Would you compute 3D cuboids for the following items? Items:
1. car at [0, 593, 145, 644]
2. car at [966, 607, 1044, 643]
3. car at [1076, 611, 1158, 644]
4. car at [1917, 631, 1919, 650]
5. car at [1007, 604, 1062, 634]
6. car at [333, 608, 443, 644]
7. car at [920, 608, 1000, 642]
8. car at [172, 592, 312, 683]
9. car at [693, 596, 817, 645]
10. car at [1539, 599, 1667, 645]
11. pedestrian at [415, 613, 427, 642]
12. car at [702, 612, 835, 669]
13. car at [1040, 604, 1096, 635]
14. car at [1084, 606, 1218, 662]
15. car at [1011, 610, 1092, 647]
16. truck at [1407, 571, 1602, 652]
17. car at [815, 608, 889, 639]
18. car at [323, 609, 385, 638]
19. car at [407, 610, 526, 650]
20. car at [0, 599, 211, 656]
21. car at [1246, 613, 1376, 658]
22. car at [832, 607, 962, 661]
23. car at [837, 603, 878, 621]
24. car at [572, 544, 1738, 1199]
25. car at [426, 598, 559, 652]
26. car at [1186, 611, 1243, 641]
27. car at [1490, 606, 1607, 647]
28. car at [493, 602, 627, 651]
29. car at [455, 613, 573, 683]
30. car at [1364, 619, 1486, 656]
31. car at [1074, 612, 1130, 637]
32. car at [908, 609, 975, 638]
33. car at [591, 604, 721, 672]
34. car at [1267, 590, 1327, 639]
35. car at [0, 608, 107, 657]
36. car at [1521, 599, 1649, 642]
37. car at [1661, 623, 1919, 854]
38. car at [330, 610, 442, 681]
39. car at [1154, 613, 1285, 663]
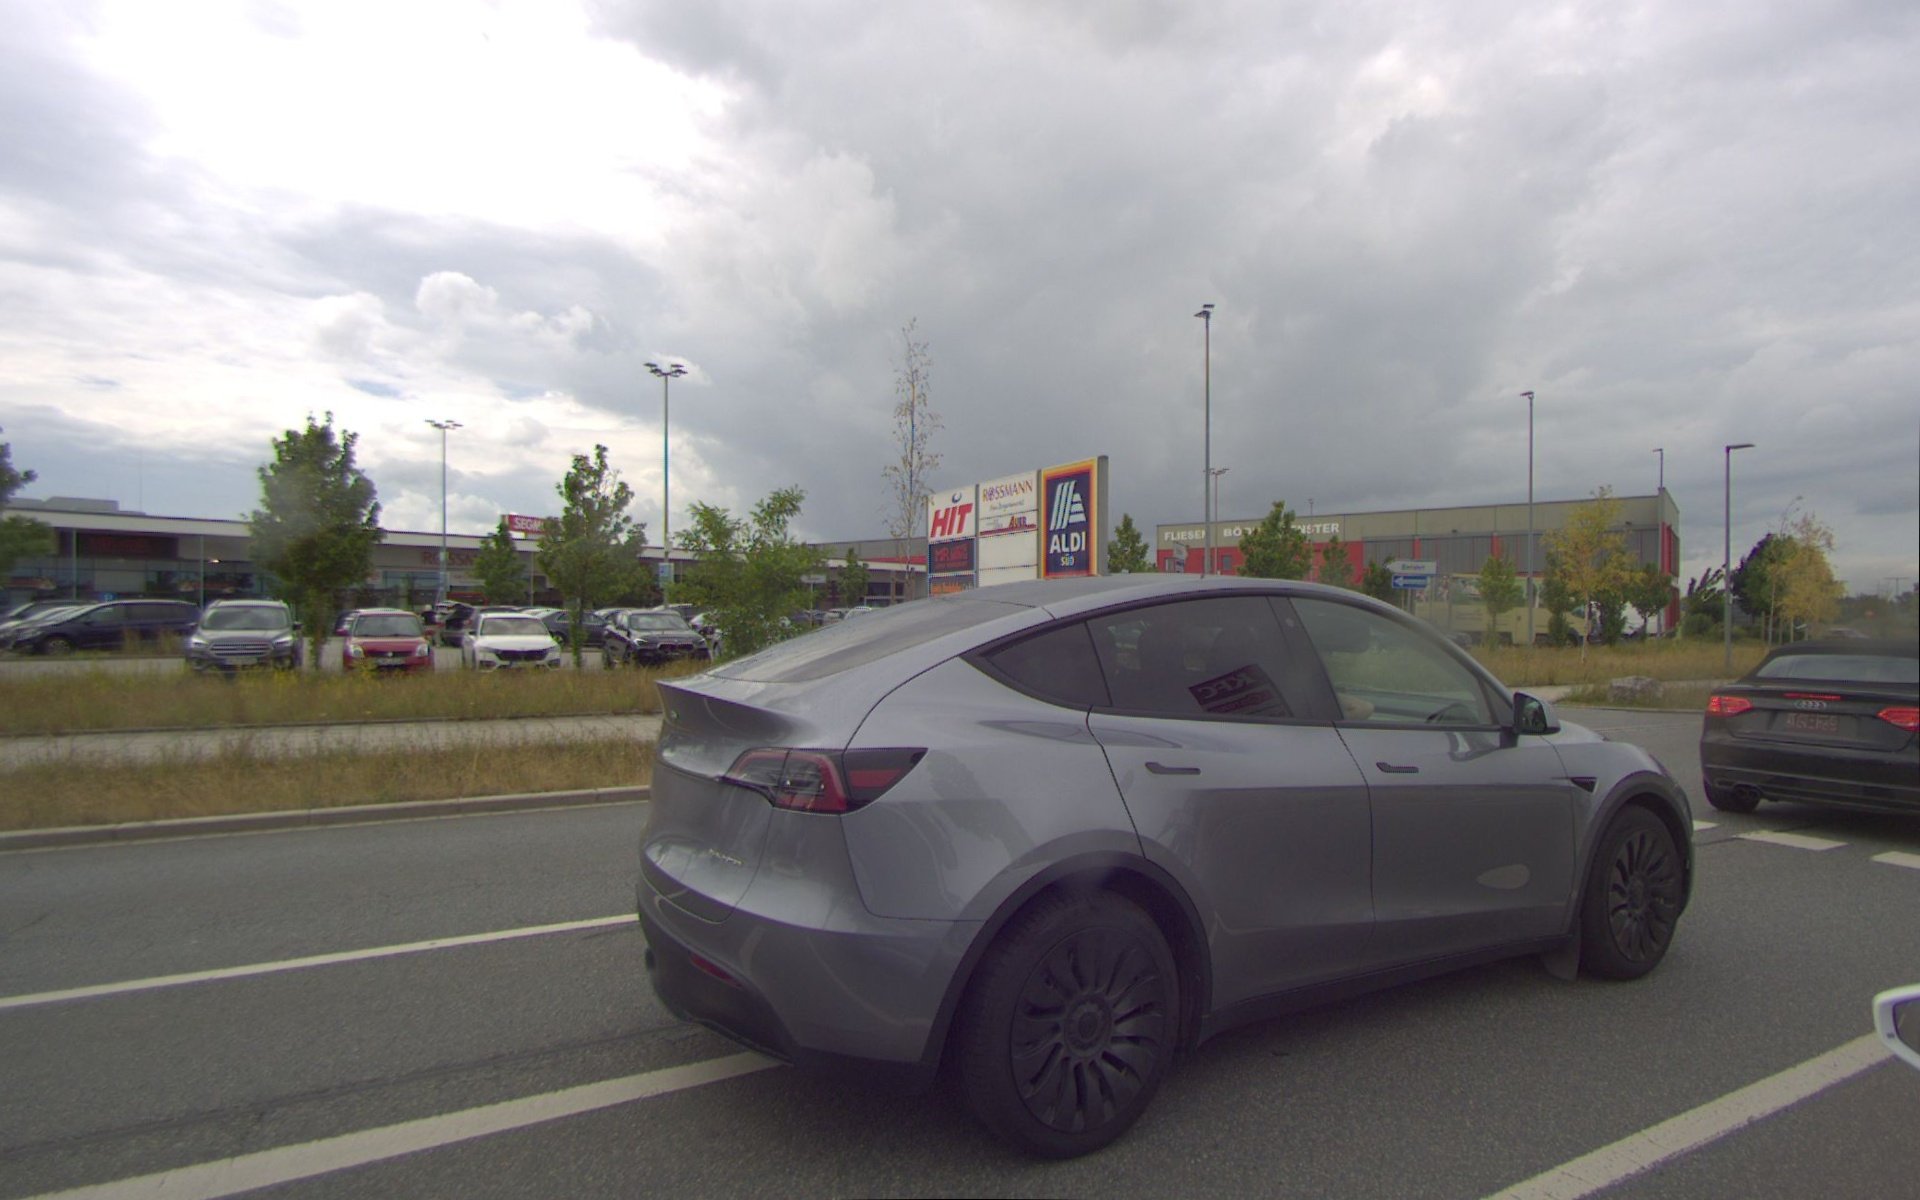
[{"bbox_3d":[-31.333,0.641,35.195,1.807,1.706,3.988,0,-1,34],"label":"car"},{"bbox_3d":[2.199,1.171,47.988,1.824,1.628,3.985,0,-1,37],"label":"car"},{"bbox_3d":[8.182,1.388,51.828,1.968,1.628,5.253,0,-1,37],"label":"car"},{"bbox_3d":[85.444,3.497,87.890,1.775,1.691,4.313,-3,-3,35],"label":"car"},{"bbox_3d":[5.172,1.305,69.104,1.968,2.040,3.986,1,-1,36],"label":"car"},{"bbox_3d":[-26.139,1.192,45.998,1.969,1.566,3.983,0,-1,38],"label":"car"},{"bbox_3d":[0.023,1.209,49.657,1.968,1.628,3.985,0,-1,37],"label":"car"},{"bbox_3d":[-14.719,0.725,20.826,2.057,1.677,4.277,1,-1,-32],"label":"car"},{"bbox_3d":[-7.896,0.808,39.054,1.969,1.769,4.565,0,-1,39],"label":"car"},{"bbox_3d":[39.119,1.313,61.212,6.334,2.633,2.232,0,-1,41],"label":"car"},{"bbox_3d":[-19.974,1.019,37.237,0.264,1.063,0.391,1,0,-8],"label":"pedestrian"},{"bbox_3d":[-5.157,1.013,26.623,2.005,1.358,4.287,1,-1,-33],"label":"car"},{"bbox_3d":[7.280,1.302,67.439,1.968,2.040,3.986,1,-1,36],"label":"car"},{"bbox_3d":[6.324,1.084,33.647,2.008,1.746,4.215,1,-1,-34],"label":"car"},{"bbox_3d":[4.269,1.282,46.573,1.968,1.628,3.985,0,-1,37],"label":"car"},{"bbox_3d":[25.819,0.579,47.718,8.283,3.588,2.852,1,0,-13],"label":"truck"},{"bbox_3d":[-5.893,1.292,55.224,1.884,1.628,3.985,0,-1,37],"label":"car"},{"bbox_3d":[-35.189,1.338,58.276,3.944,1.628,2.074,-1,-1,43],"label":"car"},{"bbox_3d":[-19.972,1.184,40.787,1.809,1.528,3.985,0,-1,37],"label":"car"},{"bbox_3d":[-25.308,0.791,29.509,1.973,1.539,5.075,0,-1,44],"label":"car"},{"bbox_3d":[13.092,1.273,37.649,1.972,1.580,4.212,1,-1,-39],"label":"car"},{"bbox_3d":[-1.907,0.935,28.887,2.139,1.409,4.340,1,-1,-28],"label":"car"},{"bbox_3d":[-9.859,1.163,96.533,1.987,1.628,3.948,2,-1,-44],"label":"car"},{"bbox_3d":[0.971,0.713,4.132,4.558,1.582,1.984,1,-1,-30],"label":"car"},{"bbox_3d":[-18.040,0.955,38.952,1.806,1.947,4.437,0,-1,32],"label":"car"},{"bbox_3d":[15.492,1.536,61.018,1.968,1.752,3.985,0,-1,37],"label":"car"},{"bbox_3d":[30.440,1.361,52.074,2.162,2.016,4.858,2,-1,-41],"label":"car"},{"bbox_3d":[-14.077,0.934,35.533,1.969,1.628,3.983,0,-1,39],"label":"car"},{"bbox_3d":[-10.451,1.041,23.377,1.988,1.476,4.296,1,-1,-31],"label":"car"},{"bbox_3d":[19.315,1.518,41.852,1.979,1.454,4.202,1,-1,-36],"label":"car"},{"bbox_3d":[9.257,1.599,65.314,1.968,1.561,3.985,0,-1,37],"label":"car"},{"bbox_3d":[-1.050,1.385,59.352,1.968,1.628,3.985,0,-1,37],"label":"car"},{"bbox_3d":[-7.715,0.900,25.227,2.213,1.525,4.345,1,-1,-30],"label":"car"},{"bbox_3d":[19.390,0.847,57.718,2.030,2.726,5.131,0,-1,34],"label":"car"},{"bbox_3d":[-33.427,1.144,36.027,1.807,1.706,3.988,0,-1,34],"label":"car"},{"bbox_3d":[35.733,1.152,57.537,5.997,2.337,2.200,0,-1,40],"label":"car"},{"bbox_3d":[7.597,0.960,8.028,4.183,1.457,1.760,2,-2,-32],"label":"car"},{"bbox_3d":[-12.592,0.933,22.182,1.975,1.409,4.067,1,-1,-29],"label":"car"},{"bbox_3d":[8.840,1.263,34.580,2.022,1.533,4.222,1,-1,-30],"label":"car"}]
